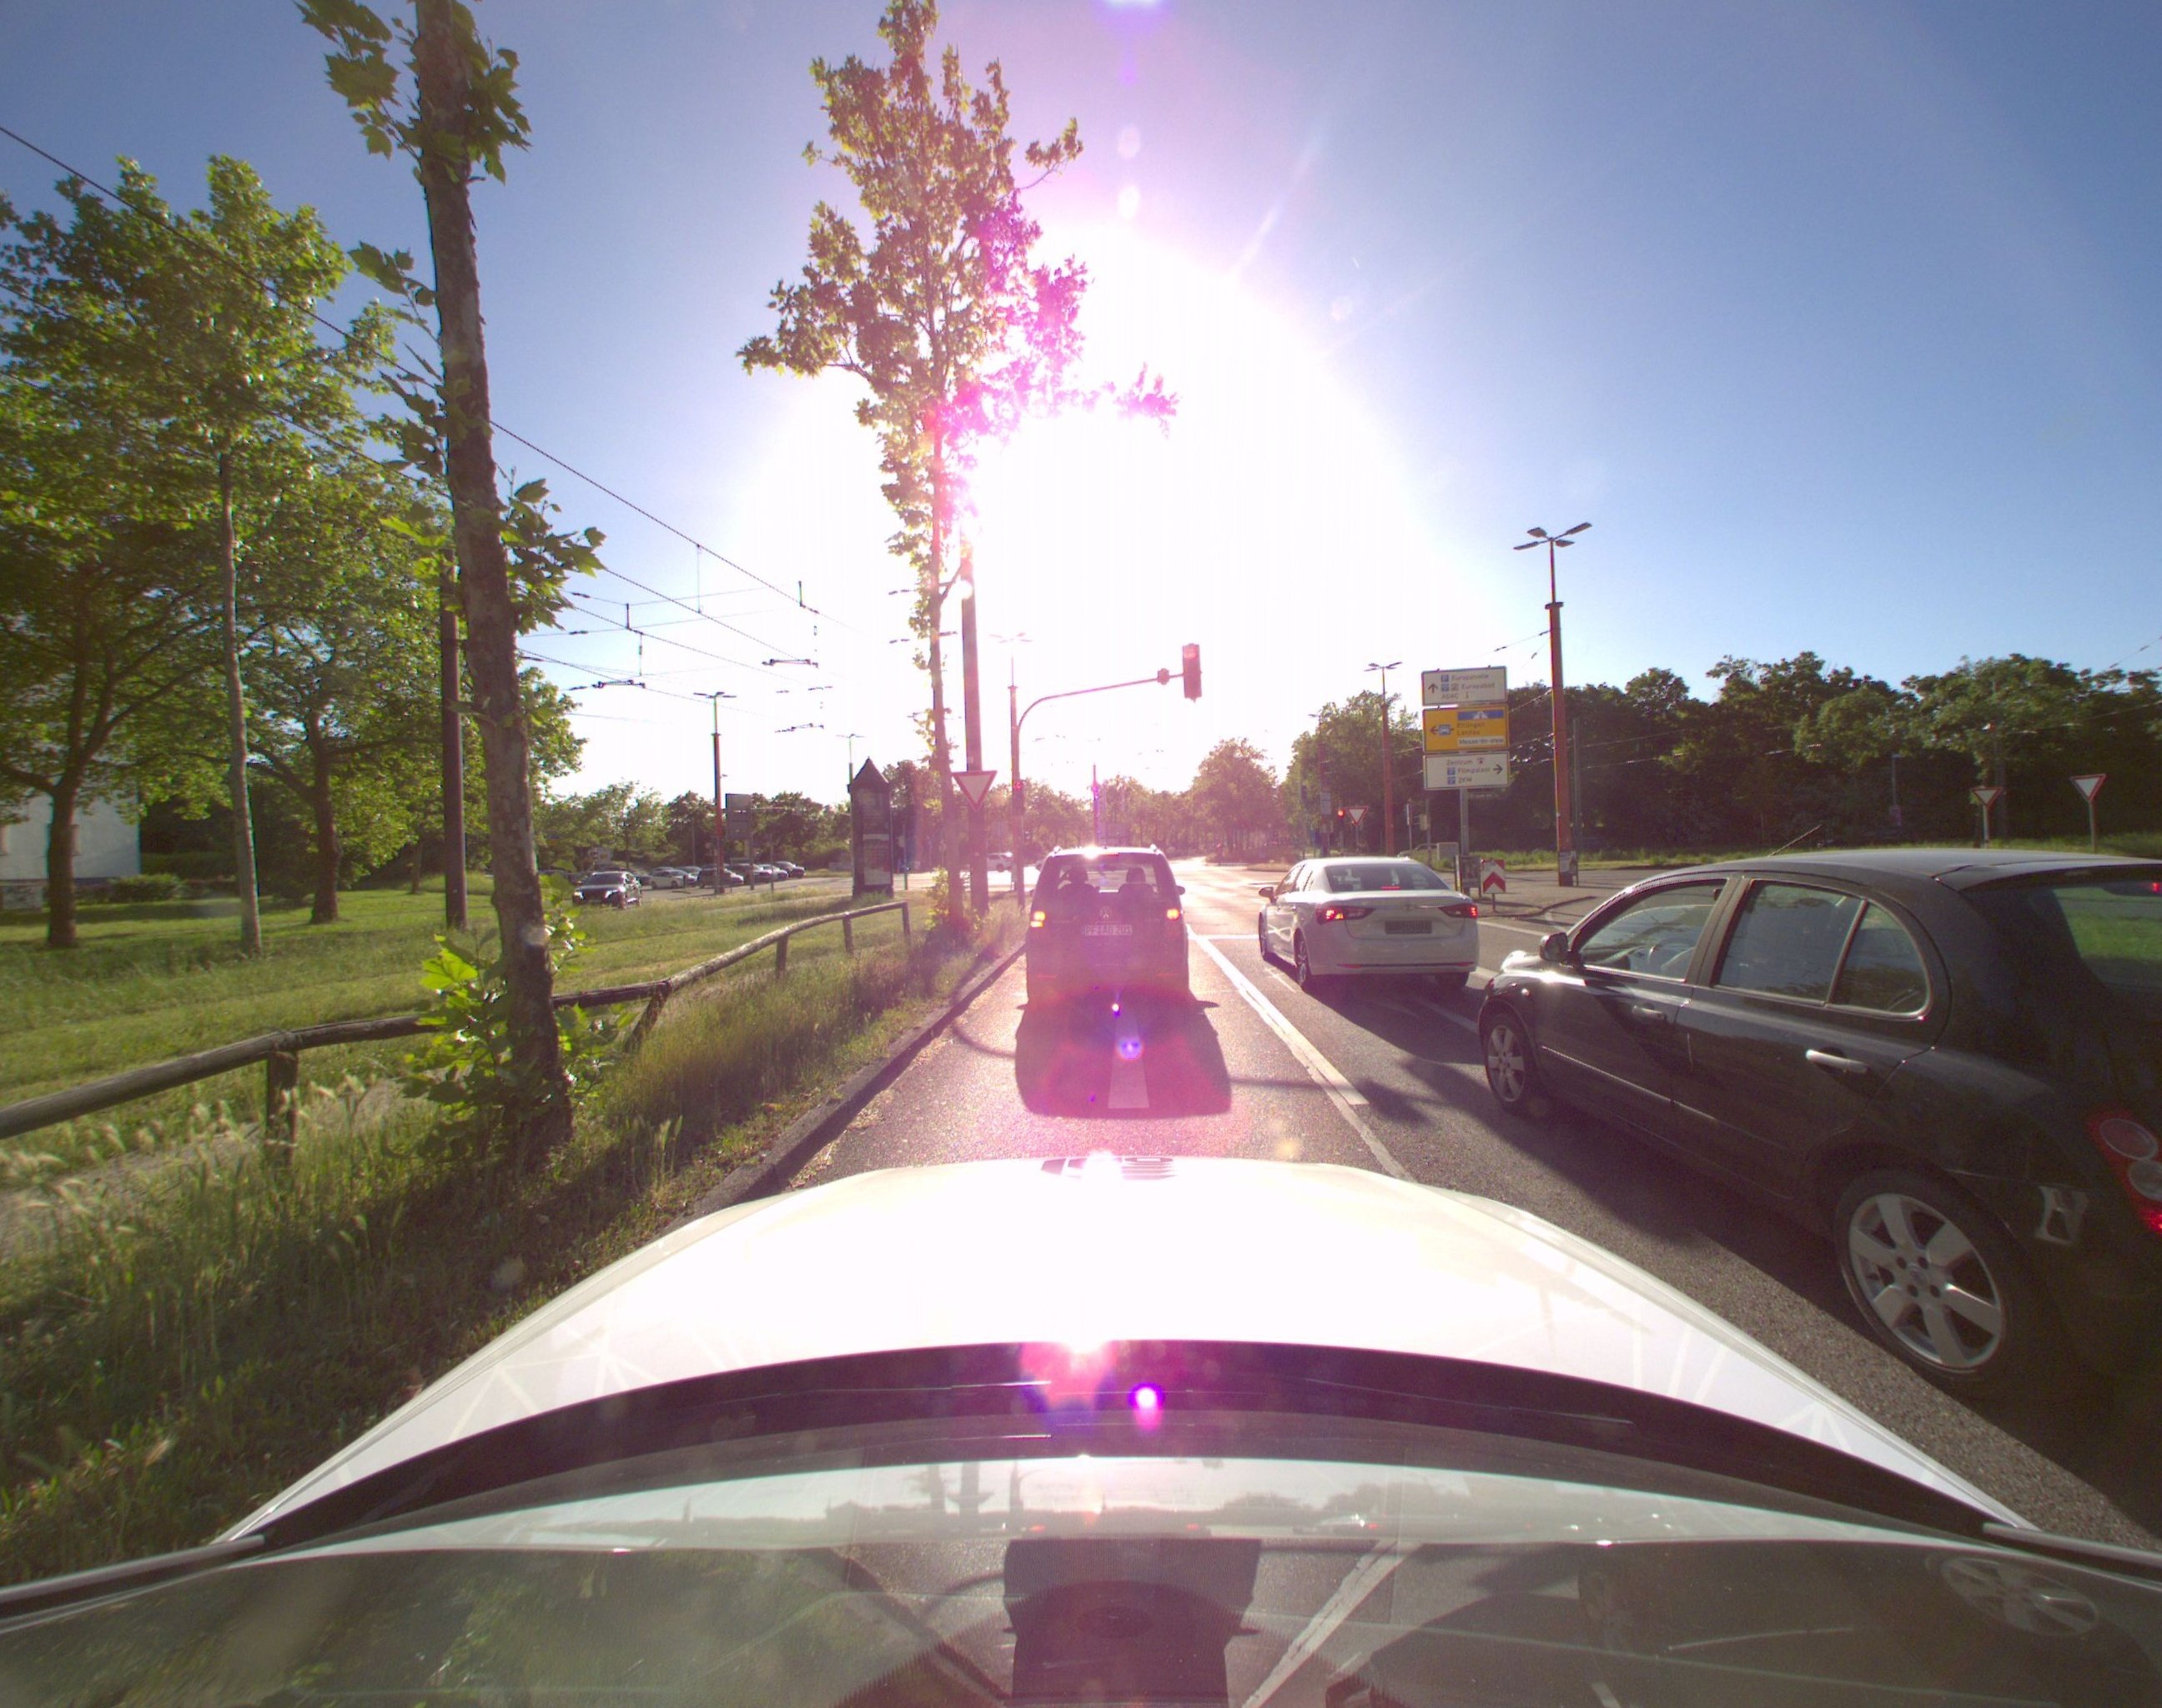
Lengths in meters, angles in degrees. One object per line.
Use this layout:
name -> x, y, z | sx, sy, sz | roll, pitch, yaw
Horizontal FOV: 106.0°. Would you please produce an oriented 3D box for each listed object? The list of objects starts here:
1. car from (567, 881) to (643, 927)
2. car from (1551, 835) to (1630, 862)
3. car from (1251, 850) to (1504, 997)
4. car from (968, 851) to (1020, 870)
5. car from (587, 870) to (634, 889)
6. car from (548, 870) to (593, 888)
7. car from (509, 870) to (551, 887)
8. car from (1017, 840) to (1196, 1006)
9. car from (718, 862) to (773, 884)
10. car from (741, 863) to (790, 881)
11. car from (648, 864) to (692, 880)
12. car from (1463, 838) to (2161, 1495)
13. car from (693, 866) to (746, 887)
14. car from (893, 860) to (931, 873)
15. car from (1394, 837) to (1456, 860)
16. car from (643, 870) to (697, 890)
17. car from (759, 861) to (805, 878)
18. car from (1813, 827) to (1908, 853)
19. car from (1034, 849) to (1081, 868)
car -> -19.920, 2.032, 34.249 | 1.654, 1.618, 4.272 | -1, 0, -15
car -> 33.284, -0.363, 53.335 | 4.165, 1.681, 1.666 | -1, 0, 25
car -> 3.366, 0.707, 10.195 | 1.792, 1.440, 4.329 | 0, 0, 3
car -> -8.132, 0.599, 75.933 | 4.616, 1.625, 1.667 | -1, 0, 28
car -> -39.450, 2.152, 68.255 | 4.145, 1.520, 1.667 | -1, 0, 32
car -> -45.088, 2.223, 71.905 | 4.145, 1.520, 1.667 | -1, 0, 32
car -> -51.135, 2.263, 75.525 | 4.145, 1.520, 1.667 | -1, 0, 32
car -> 0.359, 0.688, 10.090 | 1.731, 1.602, 4.329 | 0, -1, 3
car -> -26.935, 1.517, 65.355 | 4.583, 1.647, 1.667 | -1, 0, 32
car -> -26.842, 1.524, 69.192 | 4.102, 1.415, 1.553 | -1, 0, 28
car -> -38.206, 1.670, 75.711 | 4.102, 1.415, 1.553 | -1, 0, 28
car -> 3.173, 0.693, 3.496 | 1.570, 1.440, 3.443 | 0, -1, 2
car -> -27.339, 1.696, 61.573 | 3.793, 1.441, 1.667 | -1, 0, 29
car -> -19.881, 1.436, 95.829 | 4.140, 1.403, 1.642 | -1, 0, -26
car -> 26.033, -0.401, 61.612 | 4.164, 1.681, 1.667 | -1, 0, 28
car -> -32.740, 2.077, 64.779 | 4.577, 1.520, 1.667 | -1, 0, 32
car -> -26.739, 1.382, 72.816 | 4.102, 1.415, 1.553 | -1, 0, 28
car -> 47.564, -0.840, 49.797 | 3.877, 1.457, 1.667 | -1, 0, 29
car -> -2.198, 0.448, 77.057 | 4.081, 1.750, 1.666 | -1, 0, 26
